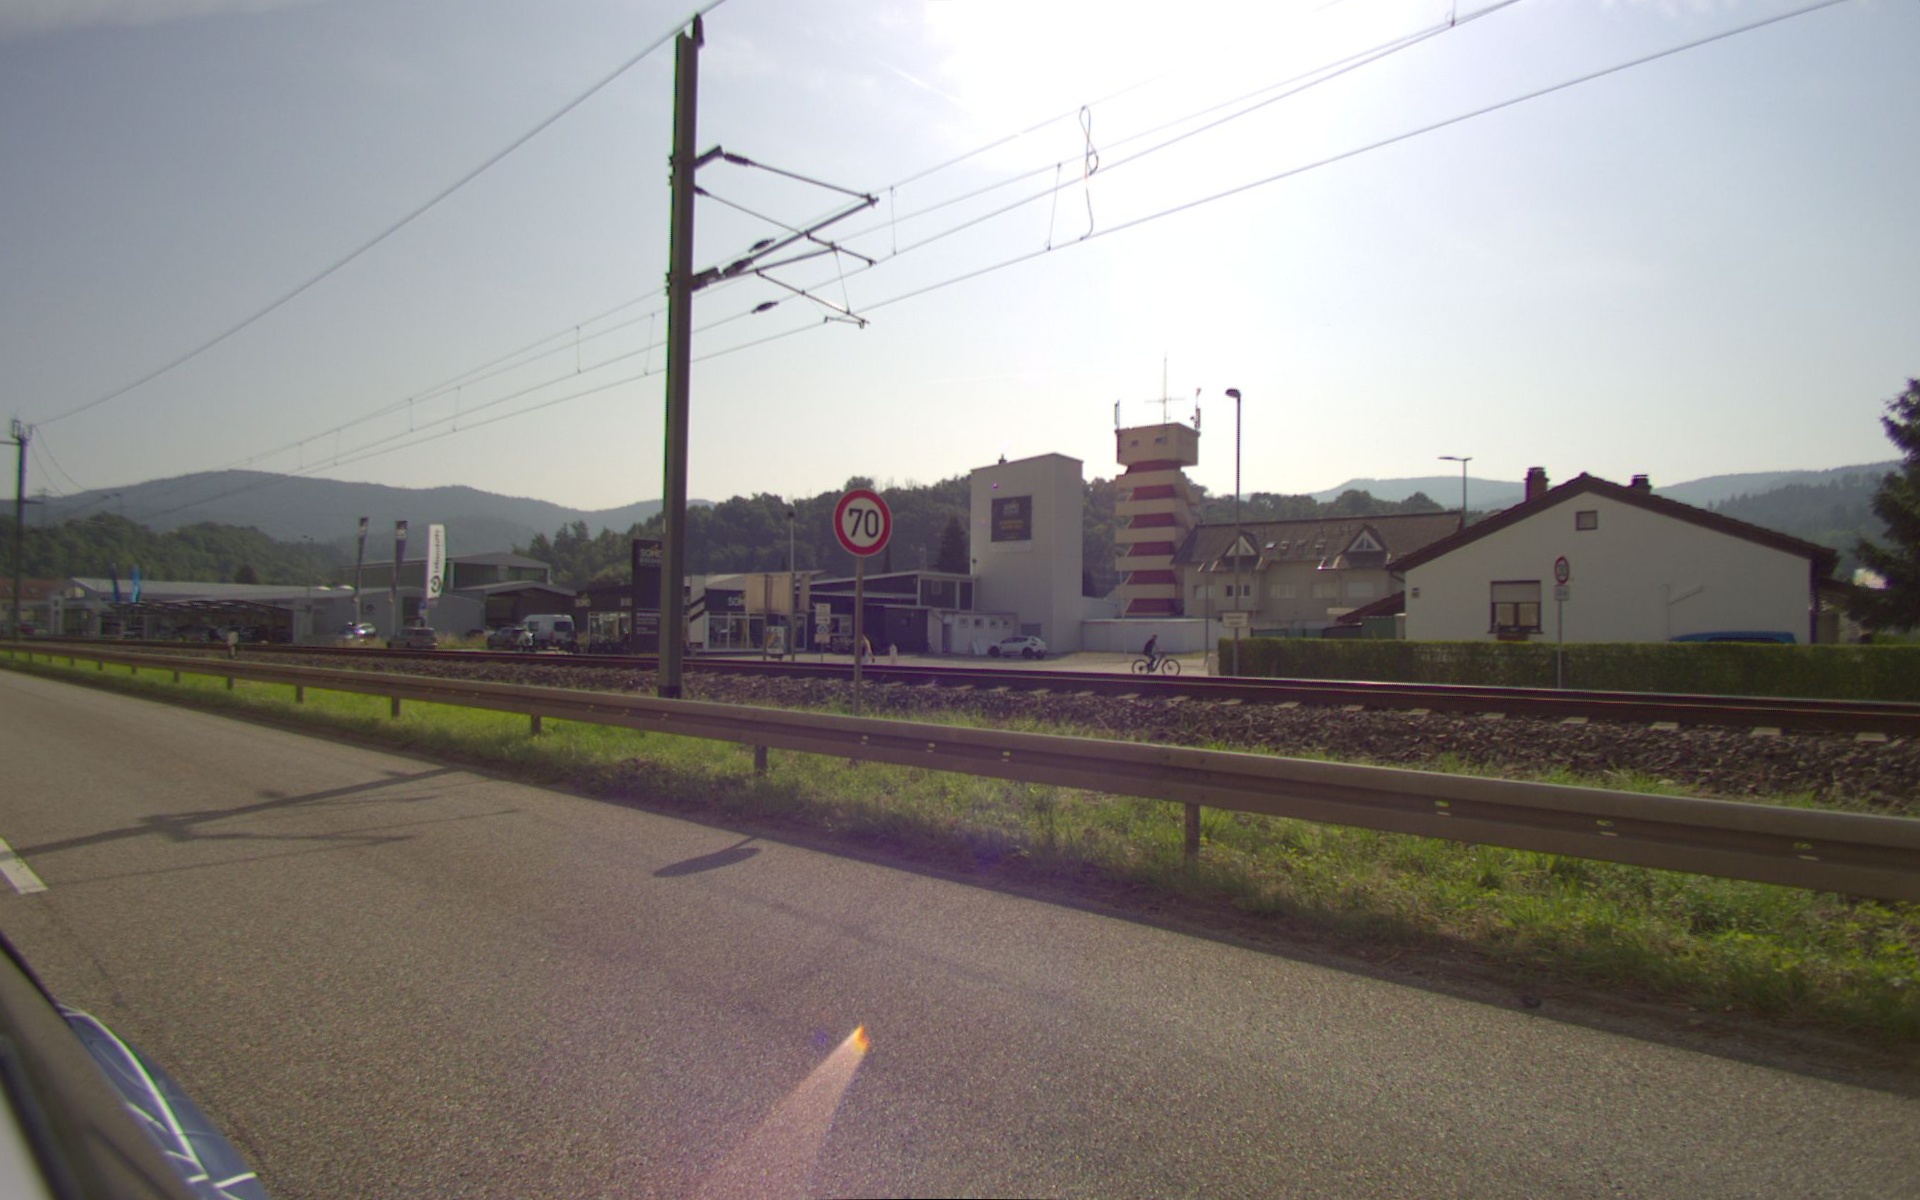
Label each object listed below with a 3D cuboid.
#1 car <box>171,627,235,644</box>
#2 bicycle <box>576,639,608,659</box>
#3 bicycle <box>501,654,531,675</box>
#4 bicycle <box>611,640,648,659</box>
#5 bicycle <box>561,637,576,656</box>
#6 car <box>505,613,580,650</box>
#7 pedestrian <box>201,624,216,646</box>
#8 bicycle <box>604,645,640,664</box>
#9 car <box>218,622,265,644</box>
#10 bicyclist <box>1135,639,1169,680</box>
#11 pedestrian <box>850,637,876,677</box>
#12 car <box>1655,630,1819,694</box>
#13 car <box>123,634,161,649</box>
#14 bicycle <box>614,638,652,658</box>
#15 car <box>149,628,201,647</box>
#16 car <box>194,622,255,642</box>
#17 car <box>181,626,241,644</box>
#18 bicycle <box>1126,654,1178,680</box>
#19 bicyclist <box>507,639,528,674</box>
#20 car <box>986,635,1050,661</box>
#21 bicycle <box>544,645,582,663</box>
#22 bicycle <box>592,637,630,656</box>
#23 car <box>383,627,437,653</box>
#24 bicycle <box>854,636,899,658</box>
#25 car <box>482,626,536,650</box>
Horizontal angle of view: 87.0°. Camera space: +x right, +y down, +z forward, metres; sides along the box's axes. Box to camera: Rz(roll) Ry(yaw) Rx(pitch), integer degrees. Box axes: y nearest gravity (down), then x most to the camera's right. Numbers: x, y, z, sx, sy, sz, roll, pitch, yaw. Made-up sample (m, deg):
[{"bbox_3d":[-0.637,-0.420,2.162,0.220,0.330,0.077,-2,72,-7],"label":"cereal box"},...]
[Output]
[{"bbox_3d":[-68.724,3.239,91.928,4.371,1.517,1.847,0,-2,-1],"label":"car"},{"bbox_3d":[-21.834,2.906,59.981,2.170,1.139,0.721,-1,-3,37],"label":"bicycle"},{"bbox_3d":[-21.065,3.058,48.007,1.707,0.930,0.540,-2,-3,37],"label":"bicycle"},{"bbox_3d":[-19.819,2.953,60.724,0.727,1.139,2.153,-1,-3,28],"label":"bicycle"},{"bbox_3d":[-23.951,2.816,61.923,0.717,1.139,2.329,1,-2,-18],"label":"bicycle"},{"bbox_3d":[-31.987,2.372,77.498,6.148,2.653,2.352,1,-2,36],"label":"car"},{"bbox_3d":[-61.752,2.880,83.179,0.821,1.748,0.806,3,-4,-34],"label":"pedestrian"},{"bbox_3d":[-20.434,3.266,61.196,0.727,1.139,2.153,-1,-3,28],"label":"bicycle"},{"bbox_3d":[-60.173,2.742,84.860,1.636,1.634,4.041,-2,0,-11],"label":"car"},{"bbox_3d":[7.797,2.390,41.018,1.145,1.632,0.738,-2,-4,42],"label":"bicyclist"},{"bbox_3d":[-3.346,1.943,34.773,0.672,1.342,0.569,-1,-3,33],"label":"pedestrian"},{"bbox_3d":[17.808,1.389,23.292,2.890,1.362,1.377,-1,-3,38],"label":"car"},{"bbox_3d":[-82.671,4.198,102.357,1.815,1.396,4.538,1,-2,-24],"label":"car"},{"bbox_3d":[-18.813,2.758,58.282,0.727,1.139,2.153,-1,-3,28],"label":"bicycle"},{"bbox_3d":[-74.215,3.524,95.722,1.820,1.539,4.275,-2,0,-4],"label":"car"},{"bbox_3d":[-63.714,2.788,87.732,1.659,1.539,3.922,-2,0,35],"label":"car"},{"bbox_3d":[-65.715,3.051,88.812,1.498,1.335,3.922,-2,0,35],"label":"car"},{"bbox_3d":[7.776,2.700,41.015,1.962,1.025,0.747,-2,-4,42],"label":"bicycle"},{"bbox_3d":[-20.973,2.676,47.953,0.830,1.659,0.527,-2,-3,37],"label":"bicyclist"},{"bbox_3d":[3.762,3.122,66.251,3.978,1.610,1.693,-2,-3,41],"label":"car"},{"bbox_3d":[-25.351,3.433,64.641,0.729,1.139,2.147,-1,-3,37],"label":"bicycle"},{"bbox_3d":[-21.317,2.843,61.872,0.729,1.139,2.147,-1,-3,37],"label":"bicycle"},{"bbox_3d":[-37.814,2.735,69.511,4.360,1.701,1.505,-1,-1,35],"label":"car"},{"bbox_3d":[-5.268,2.948,64.061,0.987,1.298,3.406,-1,-1,34],"label":"bicycle"},{"bbox_3d":[-33.193,2.804,74.489,3.991,1.676,1.851,0,-2,35],"label":"car"}]
